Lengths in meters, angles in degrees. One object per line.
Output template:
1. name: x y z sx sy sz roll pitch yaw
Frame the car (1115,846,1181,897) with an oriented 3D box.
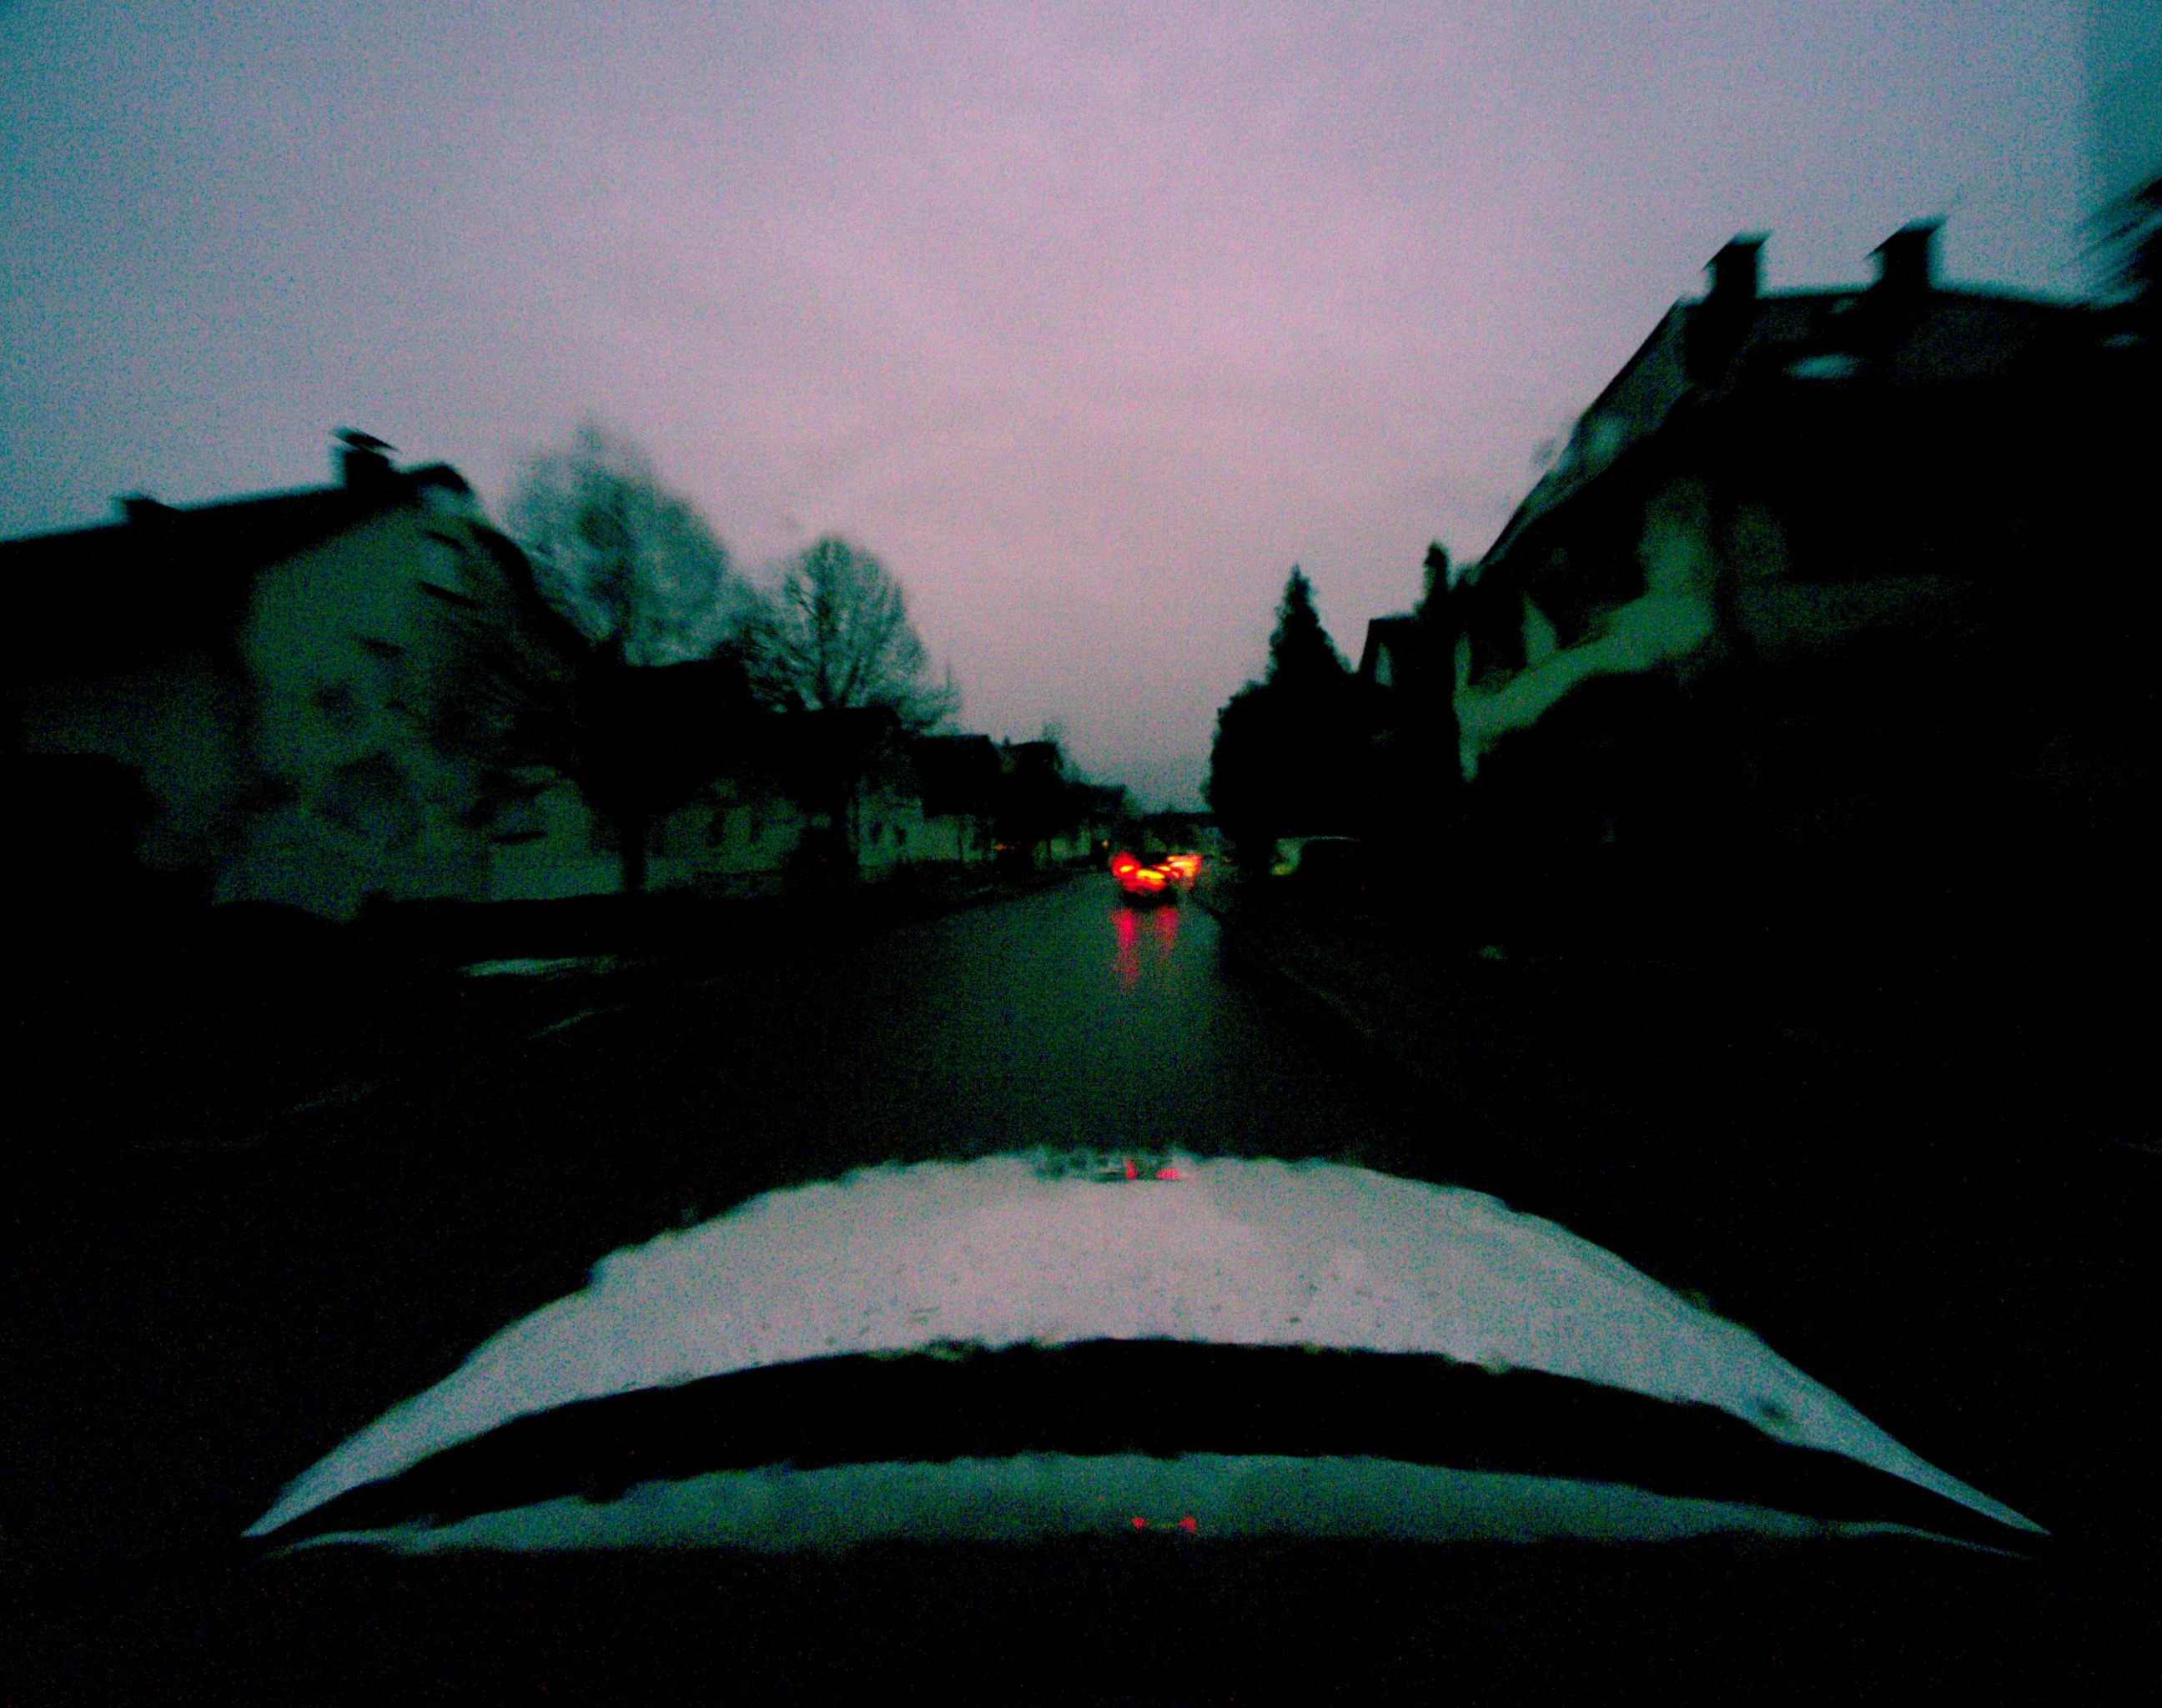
1. car: 2.161 0.545 27.151 1.985 1.525 4.003 -1 0 3

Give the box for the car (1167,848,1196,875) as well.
1. car: 7.731 0.561 62.247 1.981 2.014 4.011 -1 0 10

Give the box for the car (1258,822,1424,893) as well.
1. car: 7.712 0.090 24.491 4.306 1.732 2.001 -4 0 1

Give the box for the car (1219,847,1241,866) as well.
1. car: 13.581 0.223 74.012 1.637 1.540 3.403 -4 -1 14

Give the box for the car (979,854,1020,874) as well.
1. car: -6.094 0.735 61.247 1.769 1.366 4.015 -1 0 14
